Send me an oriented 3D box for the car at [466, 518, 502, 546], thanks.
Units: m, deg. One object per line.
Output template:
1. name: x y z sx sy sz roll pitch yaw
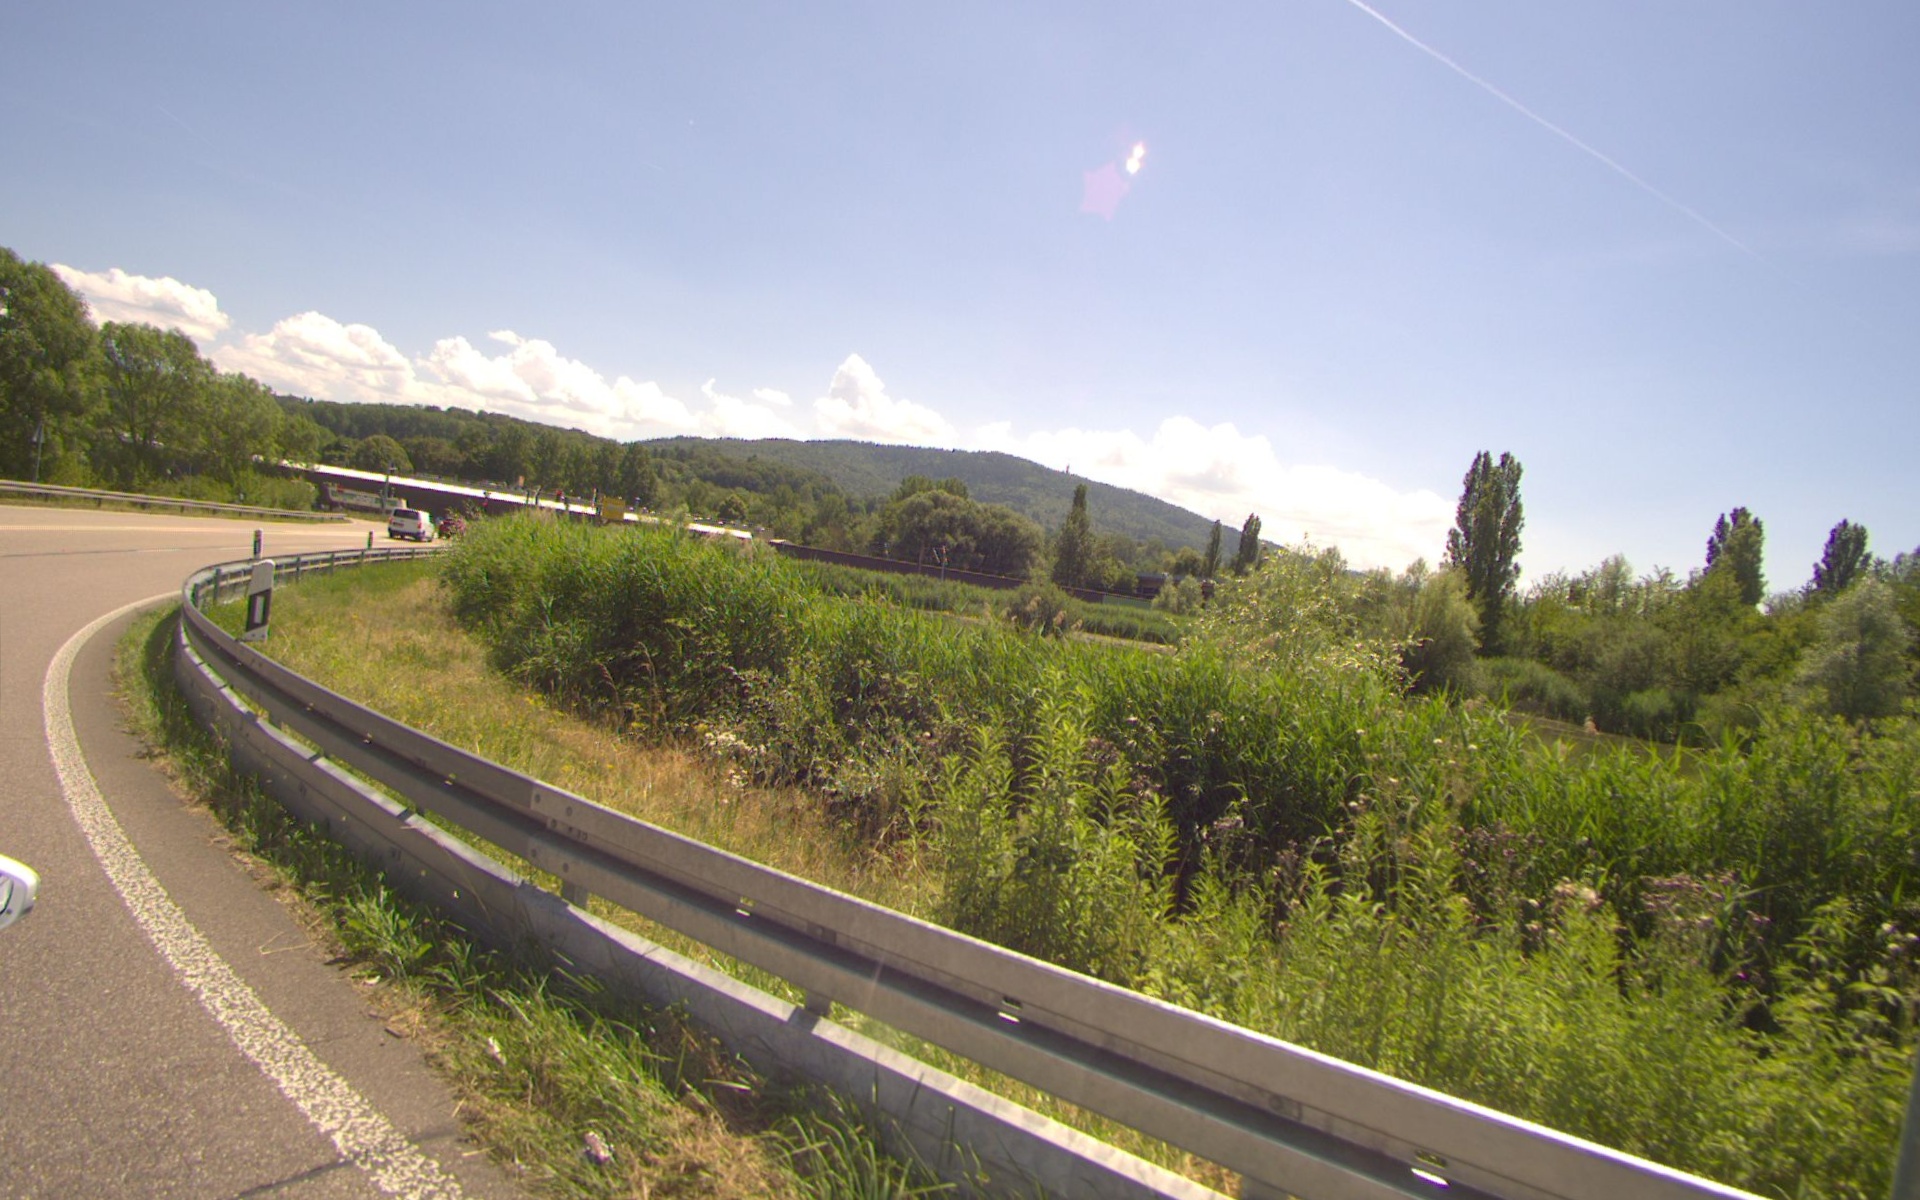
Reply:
1. car: -40.462 -5.725 85.555 1.969 2.039 3.984 6 1 -16

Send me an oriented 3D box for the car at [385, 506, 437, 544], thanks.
1. car: -34.211 -4.618 62.808 1.849 1.989 3.984 8 1 -17

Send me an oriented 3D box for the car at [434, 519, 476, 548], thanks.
1. car: -37.884 -4.969 75.606 1.969 1.835 3.984 6 1 -16
